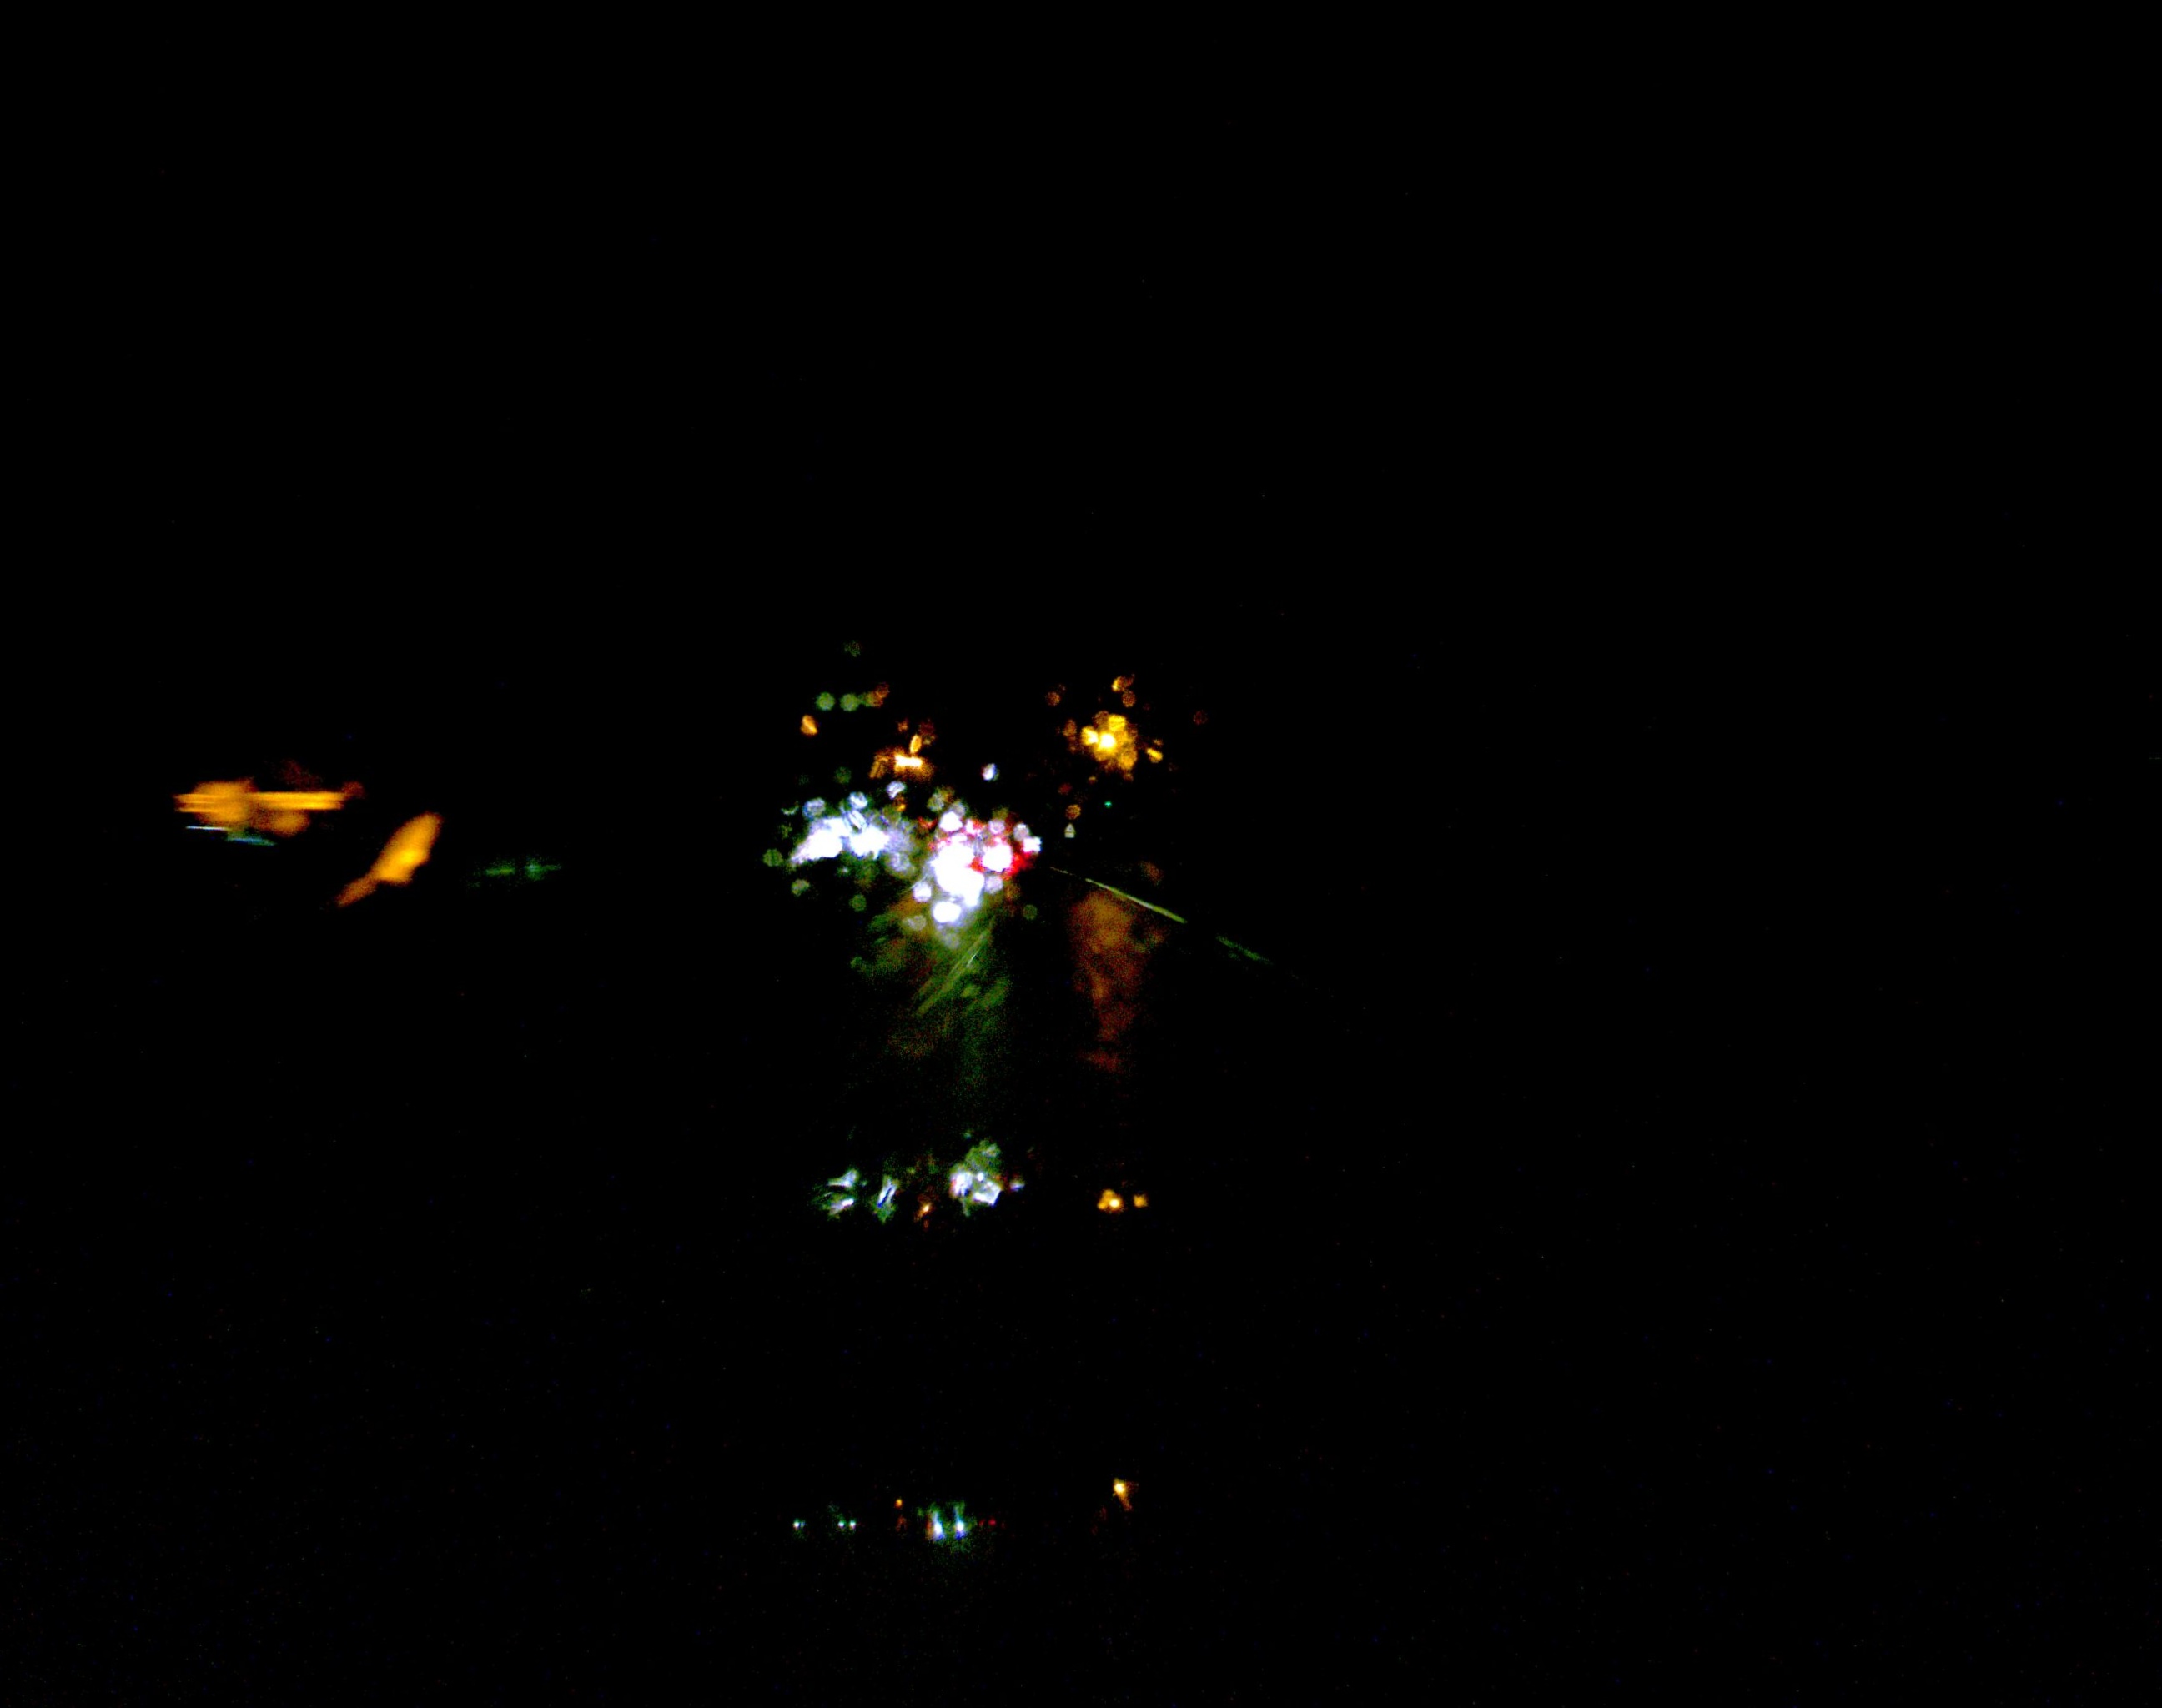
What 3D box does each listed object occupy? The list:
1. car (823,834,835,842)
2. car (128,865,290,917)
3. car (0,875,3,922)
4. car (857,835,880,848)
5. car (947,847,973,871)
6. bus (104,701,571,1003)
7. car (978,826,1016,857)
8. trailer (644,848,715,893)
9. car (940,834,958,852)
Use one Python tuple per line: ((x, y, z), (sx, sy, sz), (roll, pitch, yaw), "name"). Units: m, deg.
((-49.862, -3.251, 161.043), (1.645, 1.509, 4.059), (-3, 2, -28), "car")
((-30.922, 1.266, 29.109), (1.942, 1.697, 4.597), (1, -2, -19), "car")
((-39.111, 1.543, 26.873), (1.942, 1.697, 4.597), (1, -2, -19), "car")
((-32.544, -1.887, 124.649), (2.008, 2.014, 4.794), (1, -1, -34), "car")
((-8.336, 0.350, 56.351), (1.634, 1.510, 4.107), (-3, 0, -7), "car")
((-13.625, -0.014, 16.995), (2.905, 3.868, 12.961), (0, 0, -22), "bus")
((-7.195, -1.109, 68.942), (2.541, 2.497, 5.691), (-1, 2, -12), "car")
((-17.362, 0.660, 35.388), (1.815, 1.677, 4.082), (-3, 2, -14), "trailer")
((-15.557, -1.277, 95.593), (1.994, 2.014, 3.985), (1, -1, -11), "car")
